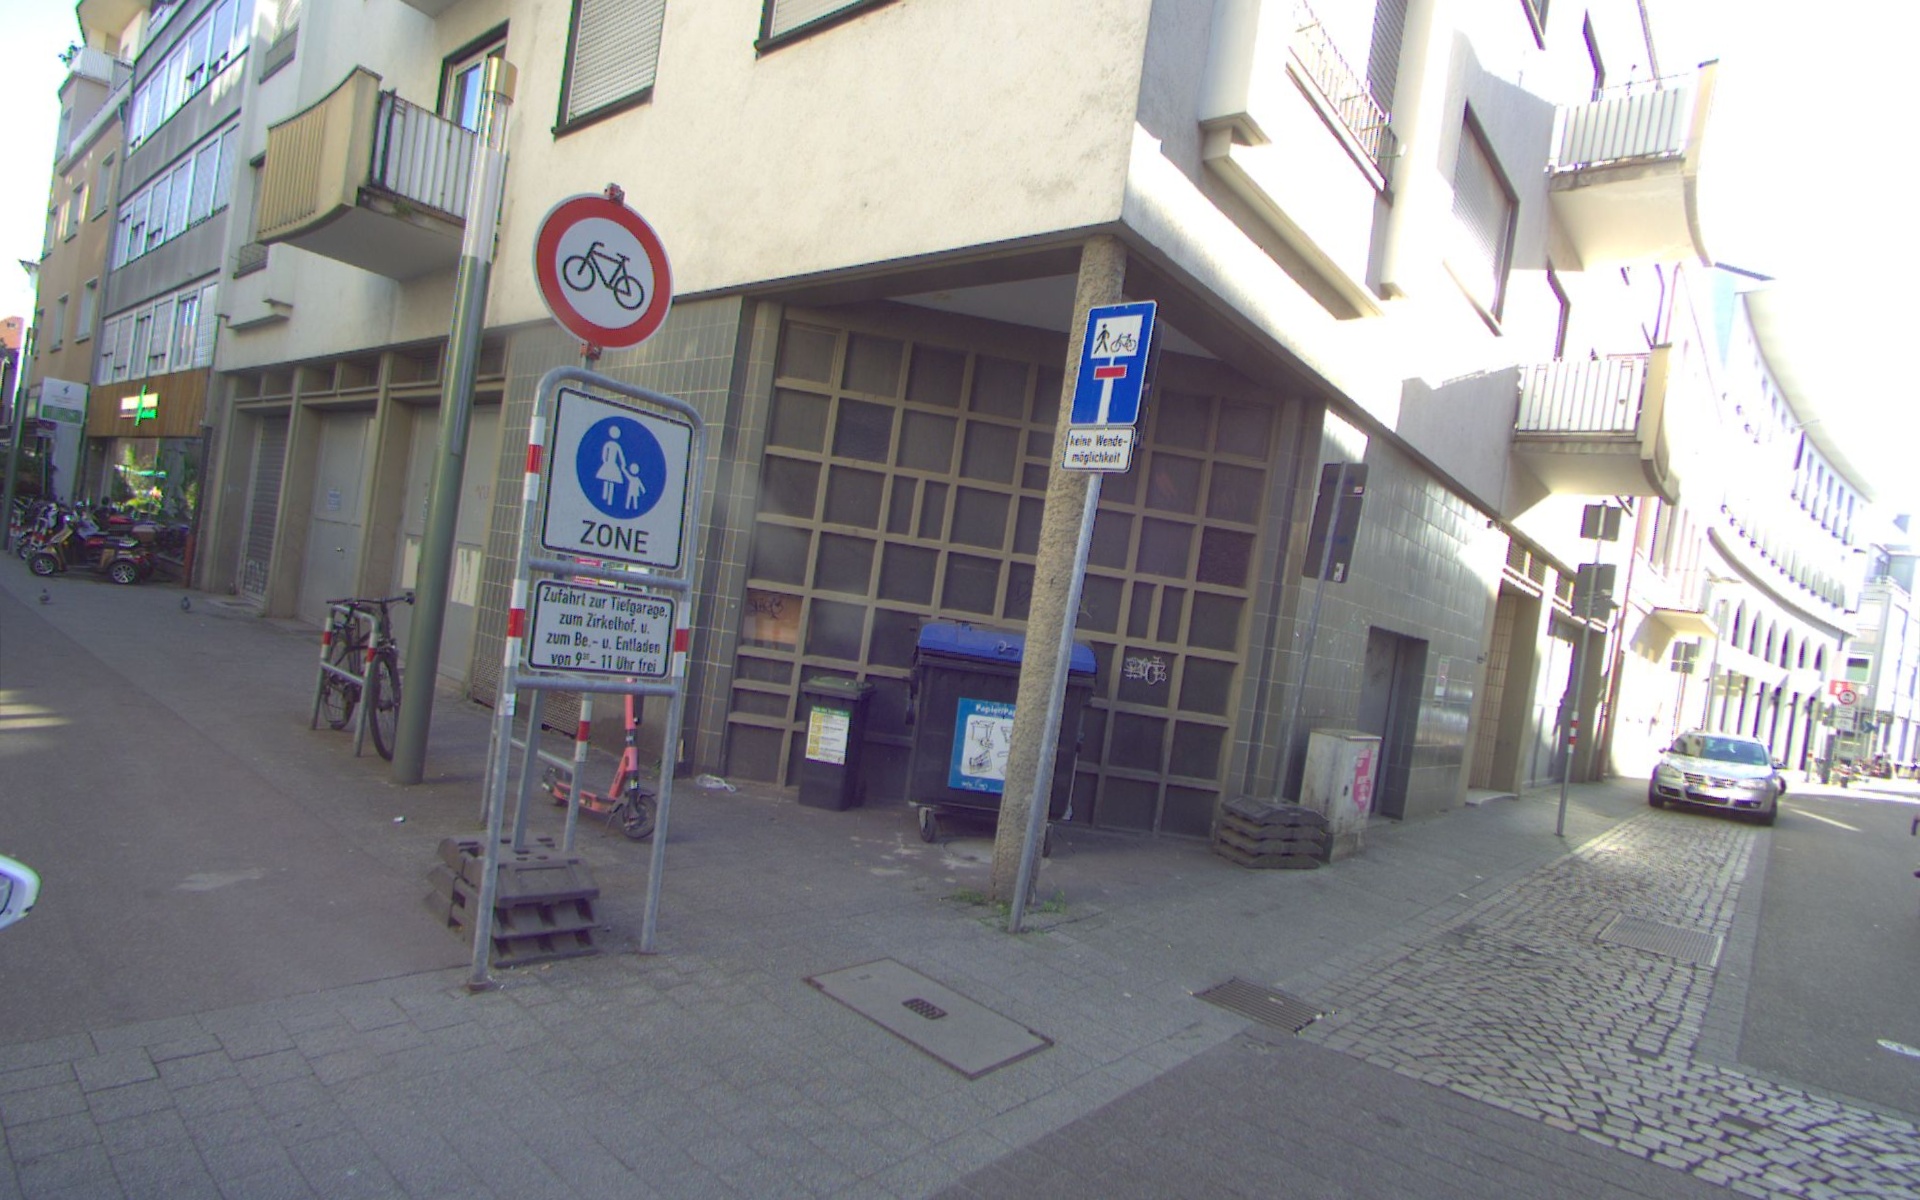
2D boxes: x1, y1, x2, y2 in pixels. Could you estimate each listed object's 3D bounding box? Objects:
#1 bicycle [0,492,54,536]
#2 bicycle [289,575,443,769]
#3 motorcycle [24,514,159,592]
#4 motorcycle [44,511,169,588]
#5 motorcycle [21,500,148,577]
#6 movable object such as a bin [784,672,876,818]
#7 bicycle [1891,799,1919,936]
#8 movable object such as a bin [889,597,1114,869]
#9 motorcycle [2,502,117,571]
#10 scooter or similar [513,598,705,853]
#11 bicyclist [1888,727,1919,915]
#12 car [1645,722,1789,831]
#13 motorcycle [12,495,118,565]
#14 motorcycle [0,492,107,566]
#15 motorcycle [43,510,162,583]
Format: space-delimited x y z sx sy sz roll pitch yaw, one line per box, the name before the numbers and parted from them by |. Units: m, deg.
bicycle | -26.078 -2.399 27.786 1.459 1.017 0.566 9 0 -43
bicycle | -4.255 0.468 7.146 0.445 1.153 1.689 8 -2 -44
motorcycle | -14.249 -0.760 16.543 1.553 1.054 0.369 8 0 -32
motorcycle | -14.605 -0.847 17.254 1.506 1.089 0.409 8 0 -32
motorcycle | -16.246 -1.128 18.709 1.613 1.189 0.476 8 0 -32
movable object such as a bin | -0.942 1.044 7.346 0.532 0.935 0.513 8 0 -6
bicycle | 8.693 2.362 8.814 0.565 1.063 1.831 7 -3 39
movable object such as a bin | 0.233 0.876 7.147 1.269 1.609 1.154 8 1 -5
motorcycle | -17.051 -1.191 19.085 1.473 1.089 0.409 8 0 -32
scooter or similar | -2.091 0.690 5.920 1.220 1.268 0.307 8 0 38
bicyclist | 8.651 1.940 8.721 0.640 1.577 1.106 8 0 39
car | 13.766 3.111 18.211 1.746 1.487 3.797 6 -2 41
motorcycle | -18.195 -1.415 20.478 1.475 1.195 0.408 8 0 -35
motorcycle | -17.651 -1.372 19.575 1.475 1.195 0.408 8 0 -35
motorcycle | -15.321 -0.945 18.014 1.473 1.089 0.409 8 0 -32
